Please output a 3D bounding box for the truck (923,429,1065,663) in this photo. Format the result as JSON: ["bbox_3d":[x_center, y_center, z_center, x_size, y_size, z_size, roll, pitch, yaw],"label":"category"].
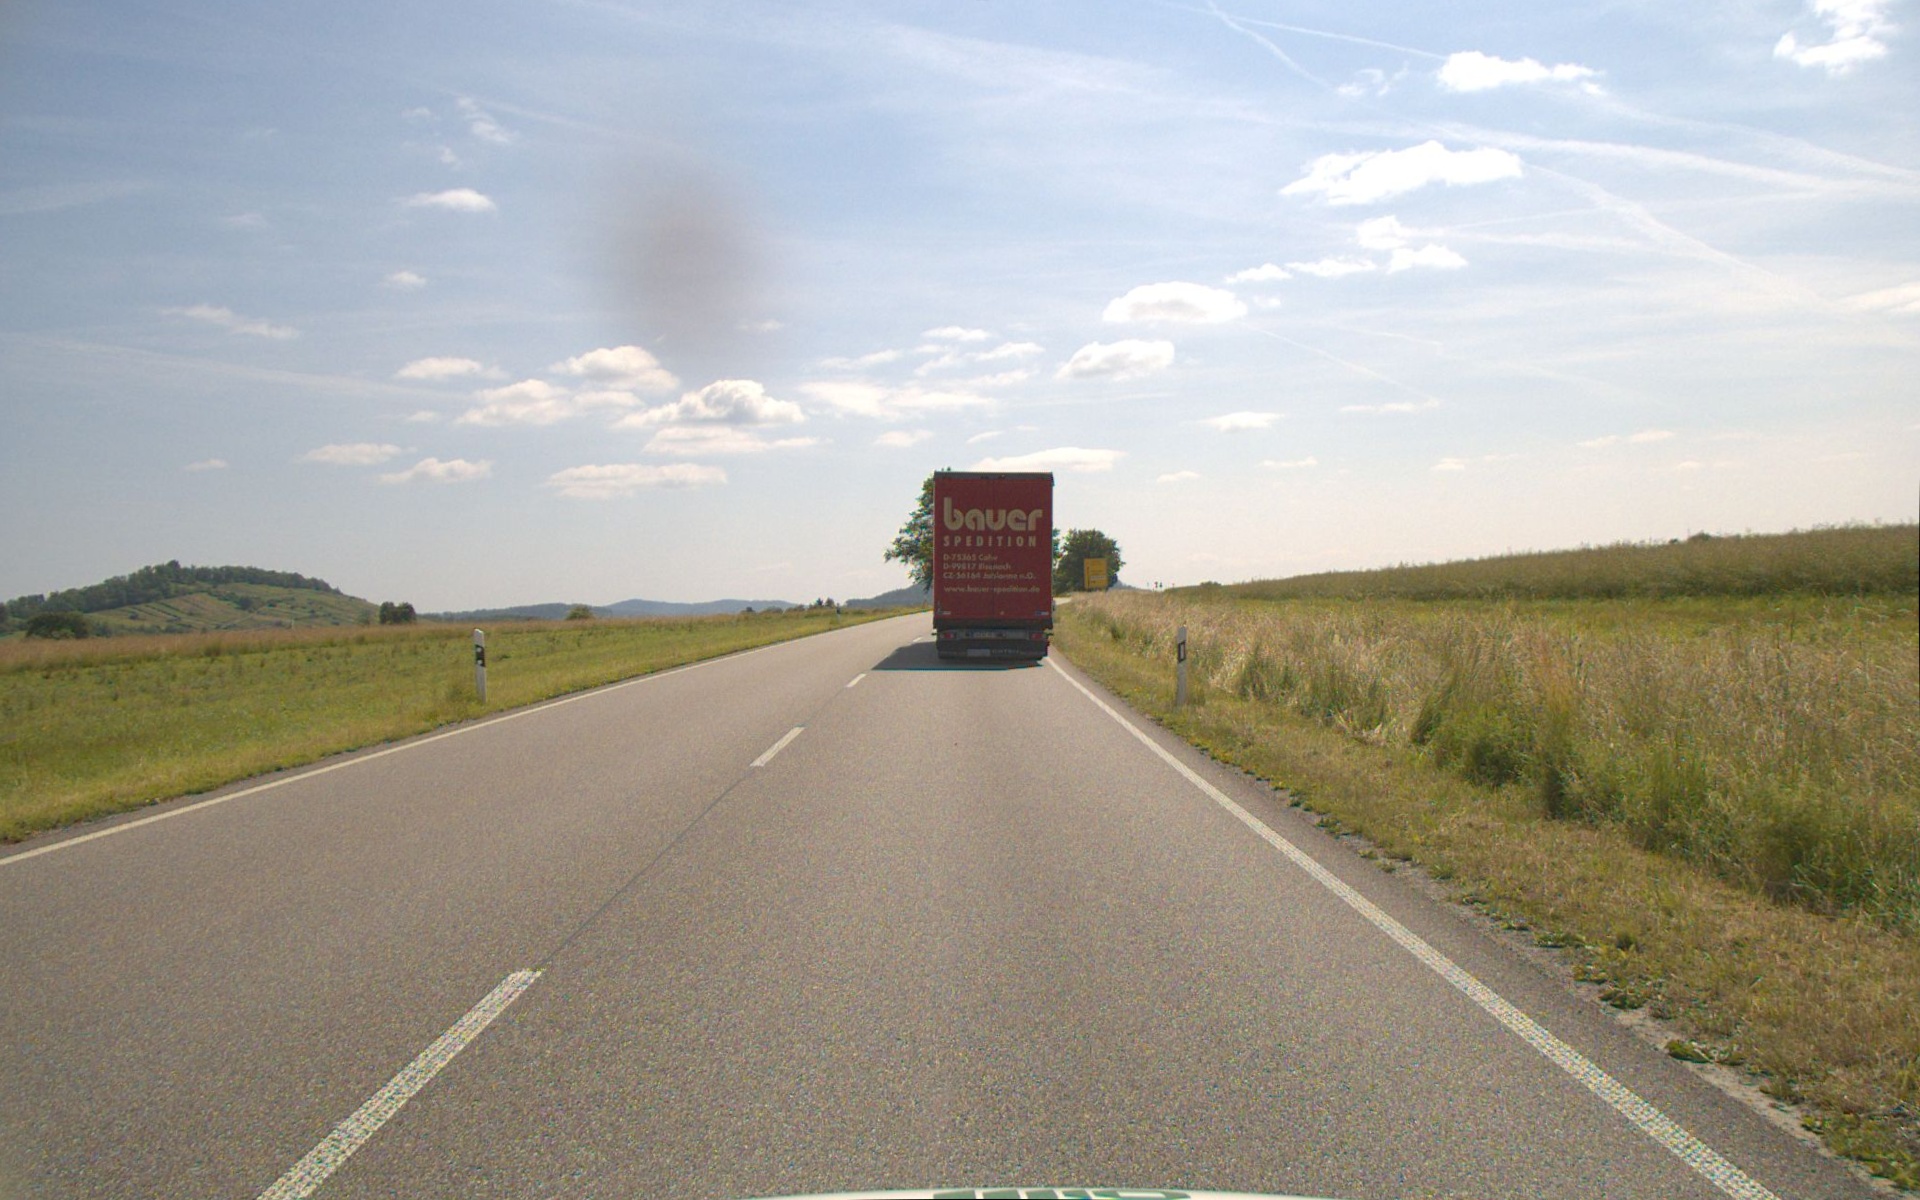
[{"bbox_3d":[0.702,-1.191,38.714,2.914,4.795,9.366,0,1,0],"label":"truck"}]
